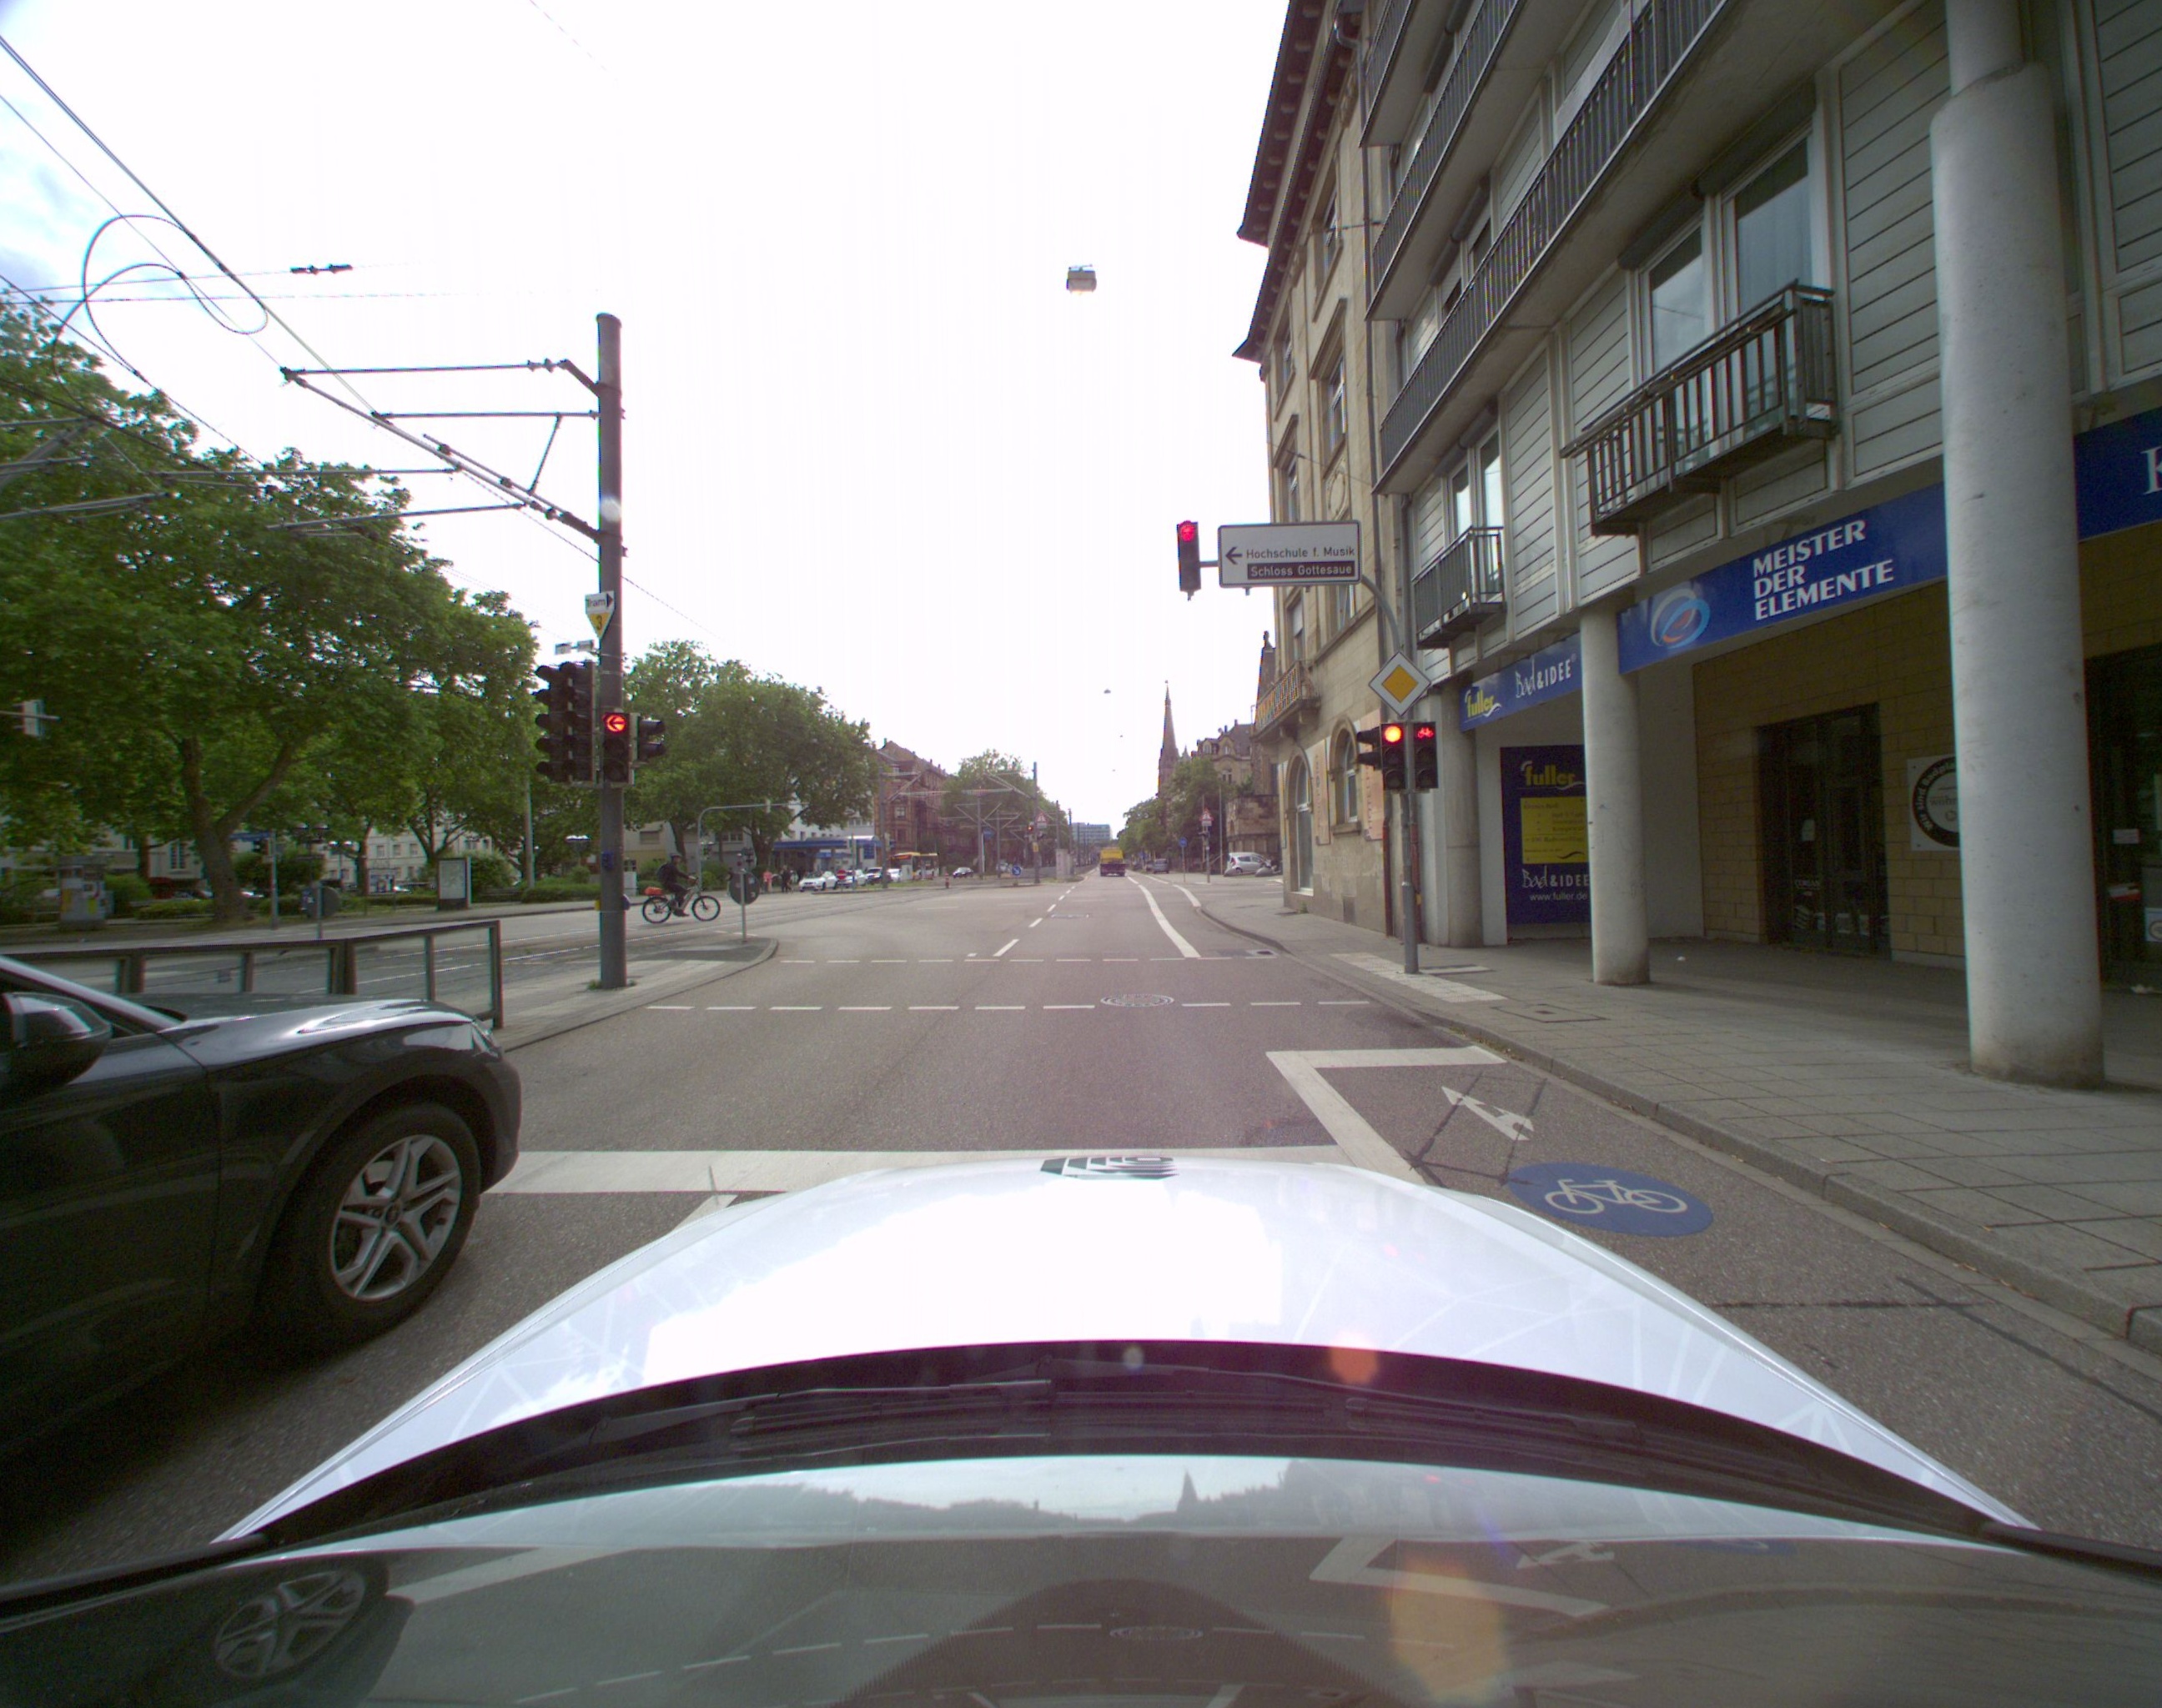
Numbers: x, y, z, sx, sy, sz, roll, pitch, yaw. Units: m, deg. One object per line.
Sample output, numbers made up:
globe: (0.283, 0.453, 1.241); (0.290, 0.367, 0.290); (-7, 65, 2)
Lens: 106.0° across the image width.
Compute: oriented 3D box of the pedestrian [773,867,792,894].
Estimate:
pedestrian: (-18.840, 1.672, 51.419); (0.863, 1.713, 0.692); (-2, -1, 5)

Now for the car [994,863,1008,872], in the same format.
car: (-14.722, 2.395, 149.866); (1.986, 1.610, 4.001); (0, -1, 2)

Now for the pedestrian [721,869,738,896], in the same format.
pedestrian: (-21.990, 1.767, 50.904); (0.680, 1.690, 0.743); (0, -1, 6)

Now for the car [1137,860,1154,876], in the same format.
car: (7.896, 1.697, 99.637); (1.985, 2.014, 4.004); (0, -1, 4)

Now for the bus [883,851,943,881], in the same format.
bus: (-18.297, 1.299, 89.713); (3.217, 3.035, 12.323); (0, 0, 4)

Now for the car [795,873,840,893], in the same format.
car: (-19.172, 2.076, 59.392); (1.739, 1.321, 4.079); (0, 0, 3)

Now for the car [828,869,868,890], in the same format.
car: (-18.842, 2.057, 66.072); (1.986, 1.594, 4.001); (0, -1, 2)

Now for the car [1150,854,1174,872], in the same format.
car: (8.976, 0.987, 89.947); (1.979, 1.855, 4.042); (-1, -1, 14)

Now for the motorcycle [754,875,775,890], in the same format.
motorcycle: (-21.642, 1.959, 55.710); (0.604, 0.928, 1.953); (-2, -1, 2)

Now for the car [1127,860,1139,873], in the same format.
car: (8.695, 2.052, 136.082); (1.986, 2.014, 4.001); (0, -1, 2)

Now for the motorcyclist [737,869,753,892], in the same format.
motorcyclist: (-22.685, 1.809, 54.986); (0.617, 1.520, 0.874); (-2, -1, 2)

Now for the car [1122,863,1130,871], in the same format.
car: (11.917, 3.367, 216.782); (1.986, 2.014, 4.001); (0, -1, 2)

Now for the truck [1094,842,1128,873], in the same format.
truck: (2.853, 0.364, 79.657); (3.044, 2.769, 9.817); (-2, 0, 1)

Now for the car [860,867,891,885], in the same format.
car: (-18.328, 1.930, 72.715); (1.649, 1.478, 3.641); (0, -1, 3)

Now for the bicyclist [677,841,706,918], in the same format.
bicyclist: (-10.445, 0.671, 21.826); (0.696, 2.014, 0.776); (0, -1, -27)

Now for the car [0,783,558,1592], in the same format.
car: (-3.068, 0.676, 1.225); (1.727, 1.637, 4.228); (0, -1, 2)

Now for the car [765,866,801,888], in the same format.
car: (-29.902, 2.277, 81.856); (1.986, 2.014, 4.001); (-2, 0, 2)

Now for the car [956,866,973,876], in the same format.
car: (-16.041, 2.352, 112.272); (1.649, 1.321, 3.641); (0, -1, 3)

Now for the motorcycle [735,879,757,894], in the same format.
motorcycle: (-22.670, 2.179, 55.154); (0.604, 0.928, 1.953); (-2, -1, 2)

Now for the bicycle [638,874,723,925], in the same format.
bicycle: (-10.576, 1.171, 21.534); (2.002, 1.272, 0.744); (0, -1, -28)

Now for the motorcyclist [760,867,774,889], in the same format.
motorcyclist: (-21.602, 1.654, 56.045); (0.617, 1.520, 0.874); (-2, -1, 2)

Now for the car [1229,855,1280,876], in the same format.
car: (13.752, 0.906, 64.790); (3.699, 1.563, 2.001); (0, -1, 2)

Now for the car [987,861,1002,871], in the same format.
car: (-15.049, 2.061, 142.087); (1.986, 1.610, 4.001); (0, -1, 2)

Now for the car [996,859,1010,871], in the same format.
car: (-13.551, 1.961, 141.977); (1.986, 2.014, 4.001); (0, -1, 2)

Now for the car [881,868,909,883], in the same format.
car: (-18.156, 2.100, 79.636); (1.649, 1.321, 3.641); (0, -1, 3)

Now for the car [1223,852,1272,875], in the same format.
car: (13.929, 0.789, 68.233); (3.699, 1.855, 2.001); (0, -1, 2)

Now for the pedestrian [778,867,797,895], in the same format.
pedestrian: (-18.819, 1.721, 52.301); (0.869, 1.713, 0.875); (-2, -1, -1)
